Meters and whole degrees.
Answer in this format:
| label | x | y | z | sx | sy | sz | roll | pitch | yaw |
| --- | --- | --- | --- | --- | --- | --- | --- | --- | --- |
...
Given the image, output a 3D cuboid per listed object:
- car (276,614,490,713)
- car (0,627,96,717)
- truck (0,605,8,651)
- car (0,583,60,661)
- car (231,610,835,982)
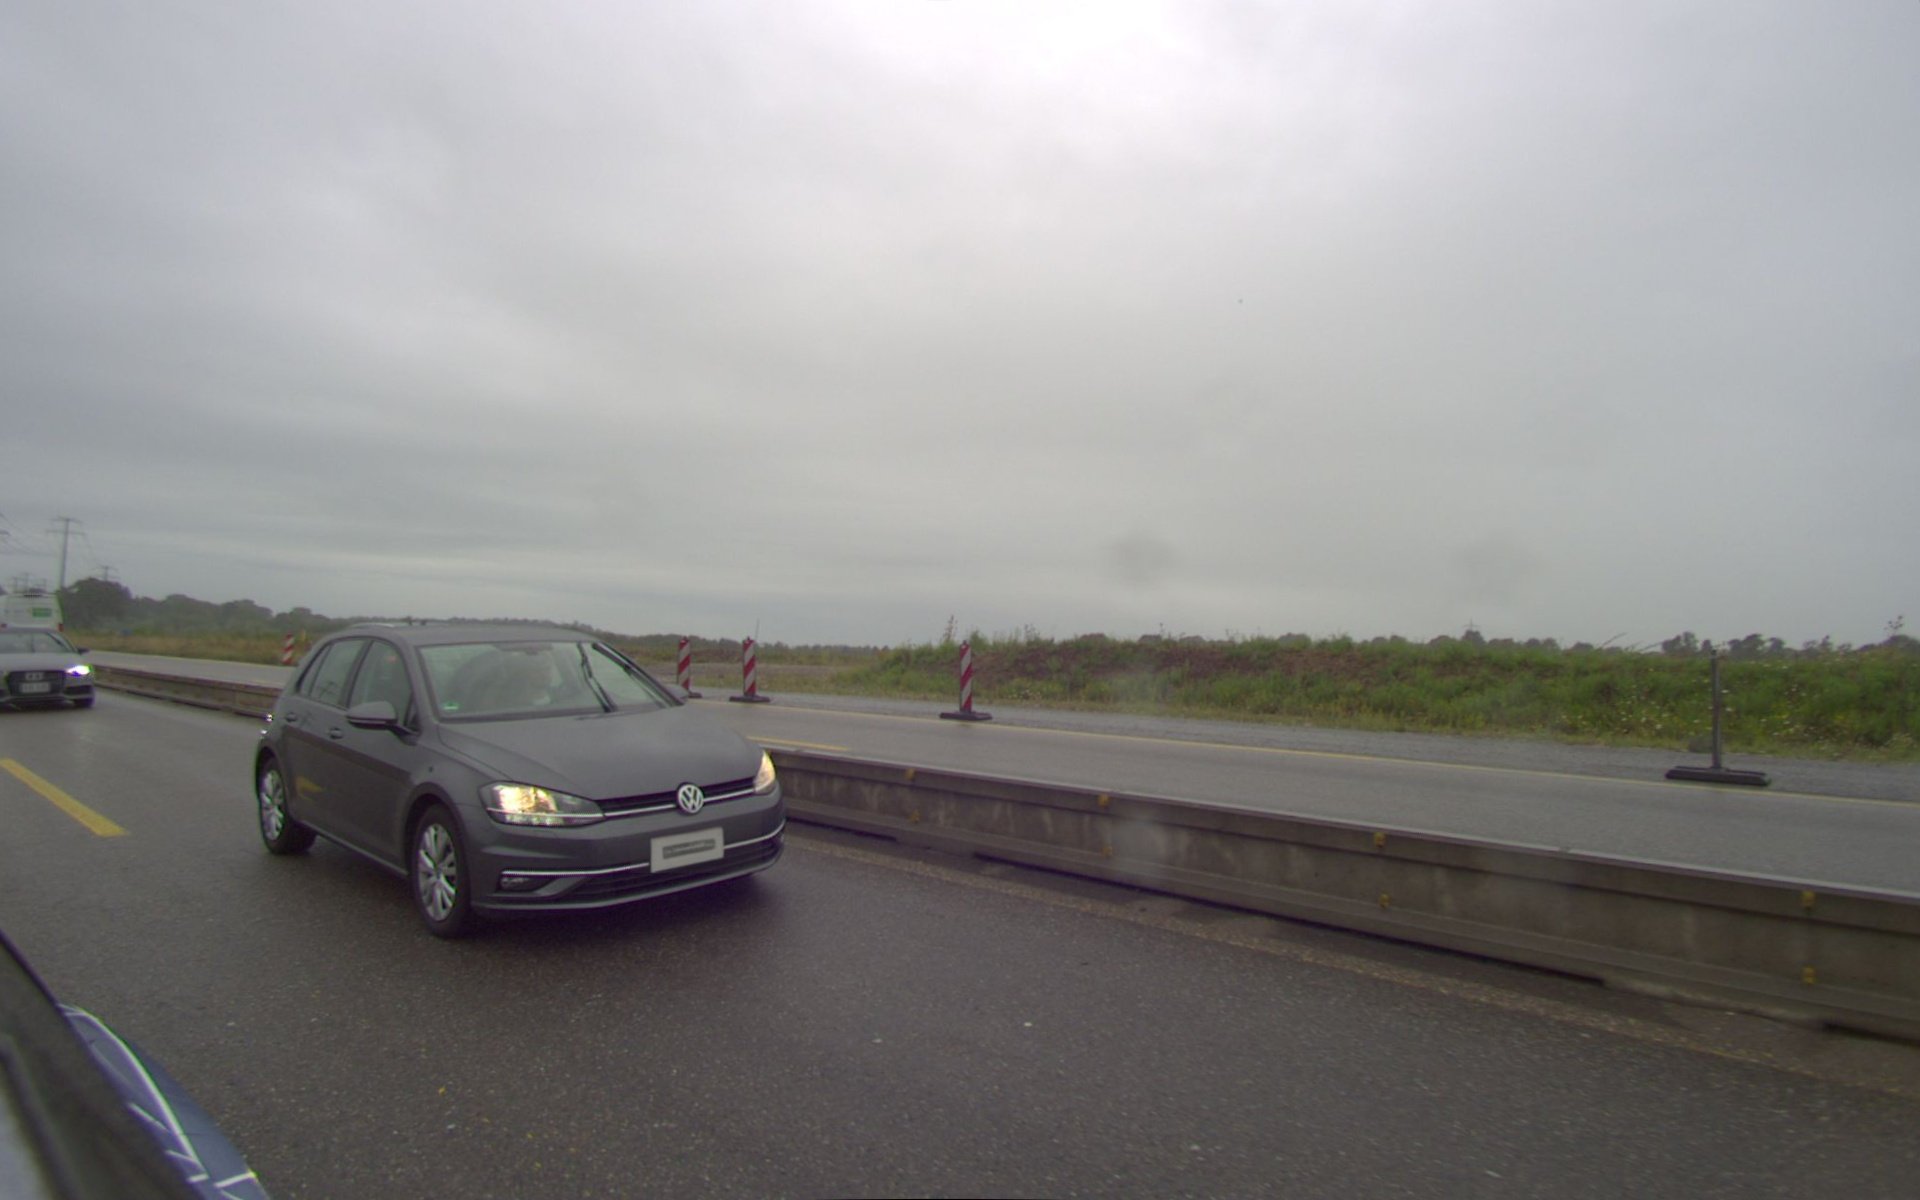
| label | x | y | z | sx | sy | sz | roll | pitch | yaw |
| --- | --- | --- | --- | --- | --- | --- | --- | --- | --- |
| car | -10.263 | 1.013 | 17.866 | 4.578 | 1.507 | 1.875 | -1 | 0 | 41 |
| car | -17.064 | 1.227 | 18.200 | 4.268 | 1.407 | 1.776 | -1 | 0 | 42 |
| truck | -63.570 | 1.810 | 65.268 | 6.543 | 2.916 | 2.334 | -2 | -4 | 40 |
| car | -40.126 | 0.928 | 42.895 | 7.166 | 3.068 | 1.973 | -1 | -1 | 40 |
| car | -2.698 | 0.777 | 5.884 | 4.079 | 1.433 | 1.632 | 0 | -1 | 41 |
